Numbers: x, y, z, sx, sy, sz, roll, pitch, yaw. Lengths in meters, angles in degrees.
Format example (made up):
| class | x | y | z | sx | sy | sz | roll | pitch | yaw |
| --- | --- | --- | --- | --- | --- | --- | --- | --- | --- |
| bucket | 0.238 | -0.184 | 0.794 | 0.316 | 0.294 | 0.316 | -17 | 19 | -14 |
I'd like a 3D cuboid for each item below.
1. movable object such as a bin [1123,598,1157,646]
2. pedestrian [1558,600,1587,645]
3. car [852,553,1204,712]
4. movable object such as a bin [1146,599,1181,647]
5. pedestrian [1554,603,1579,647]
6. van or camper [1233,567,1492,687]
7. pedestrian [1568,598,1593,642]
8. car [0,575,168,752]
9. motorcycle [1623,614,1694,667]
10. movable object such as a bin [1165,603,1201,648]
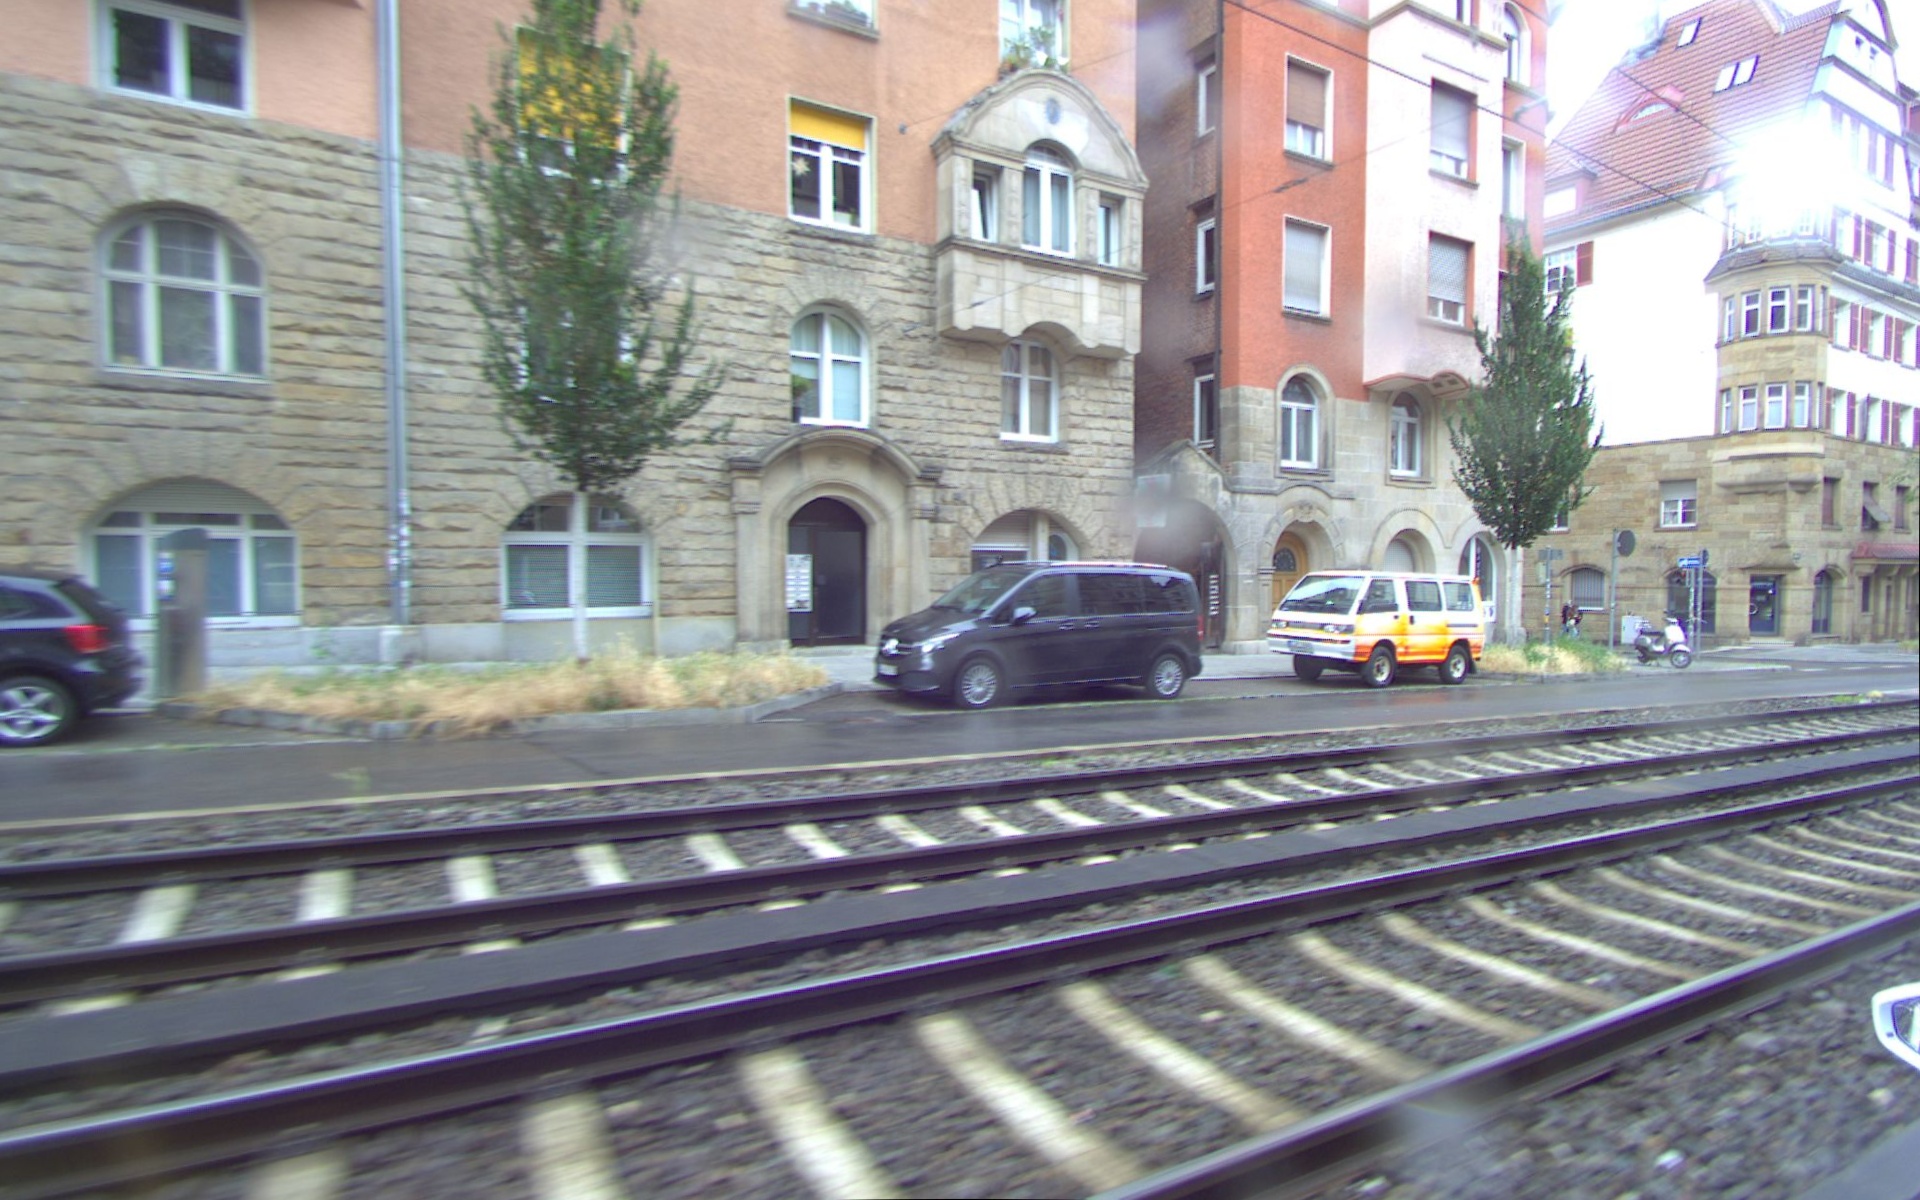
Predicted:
| class | x | y | z | sx | sy | sz | roll | pitch | yaw |
| --- | --- | --- | --- | --- | --- | --- | --- | --- | --- |
| movable object such as a bin | 4.192 | 0.504 | 23.406 | 0.513 | 1.075 | 0.571 | 1 | 1 | -30 |
| pedestrian | 23.981 | 0.872 | 39.319 | 0.854 | 1.756 | 0.604 | 1 | 1 | -29 |
| car | 1.006 | 0.422 | 14.213 | 4.641 | 1.927 | 1.985 | 1 | 0 | -29 |
| movable object such as a bin | 4.635 | 0.516 | 22.901 | 0.513 | 1.075 | 0.571 | 1 | 1 | -30 |
| pedestrian | 24.509 | 0.997 | 40.589 | 0.634 | 1.756 | 0.604 | 1 | 1 | -29 |
| van or camper | 7.329 | 0.456 | 18.145 | 4.647 | 1.927 | 1.982 | 1 | 1 | -32 |
| pedestrian | 25.217 | 0.810 | 40.806 | 0.634 | 1.756 | 0.604 | 1 | 1 | -29 |
| car | -9.035 | 0.486 | 8.218 | 3.842 | 1.417 | 1.632 | 1 | 1 | -33 |
| motorcycle | 16.384 | 0.926 | 23.594 | 0.608 | 1.149 | 1.441 | 2 | 1 | 0 |
| movable object such as a bin | 4.971 | 0.559 | 22.411 | 0.513 | 0.968 | 0.571 | 1 | 1 | -30 |
